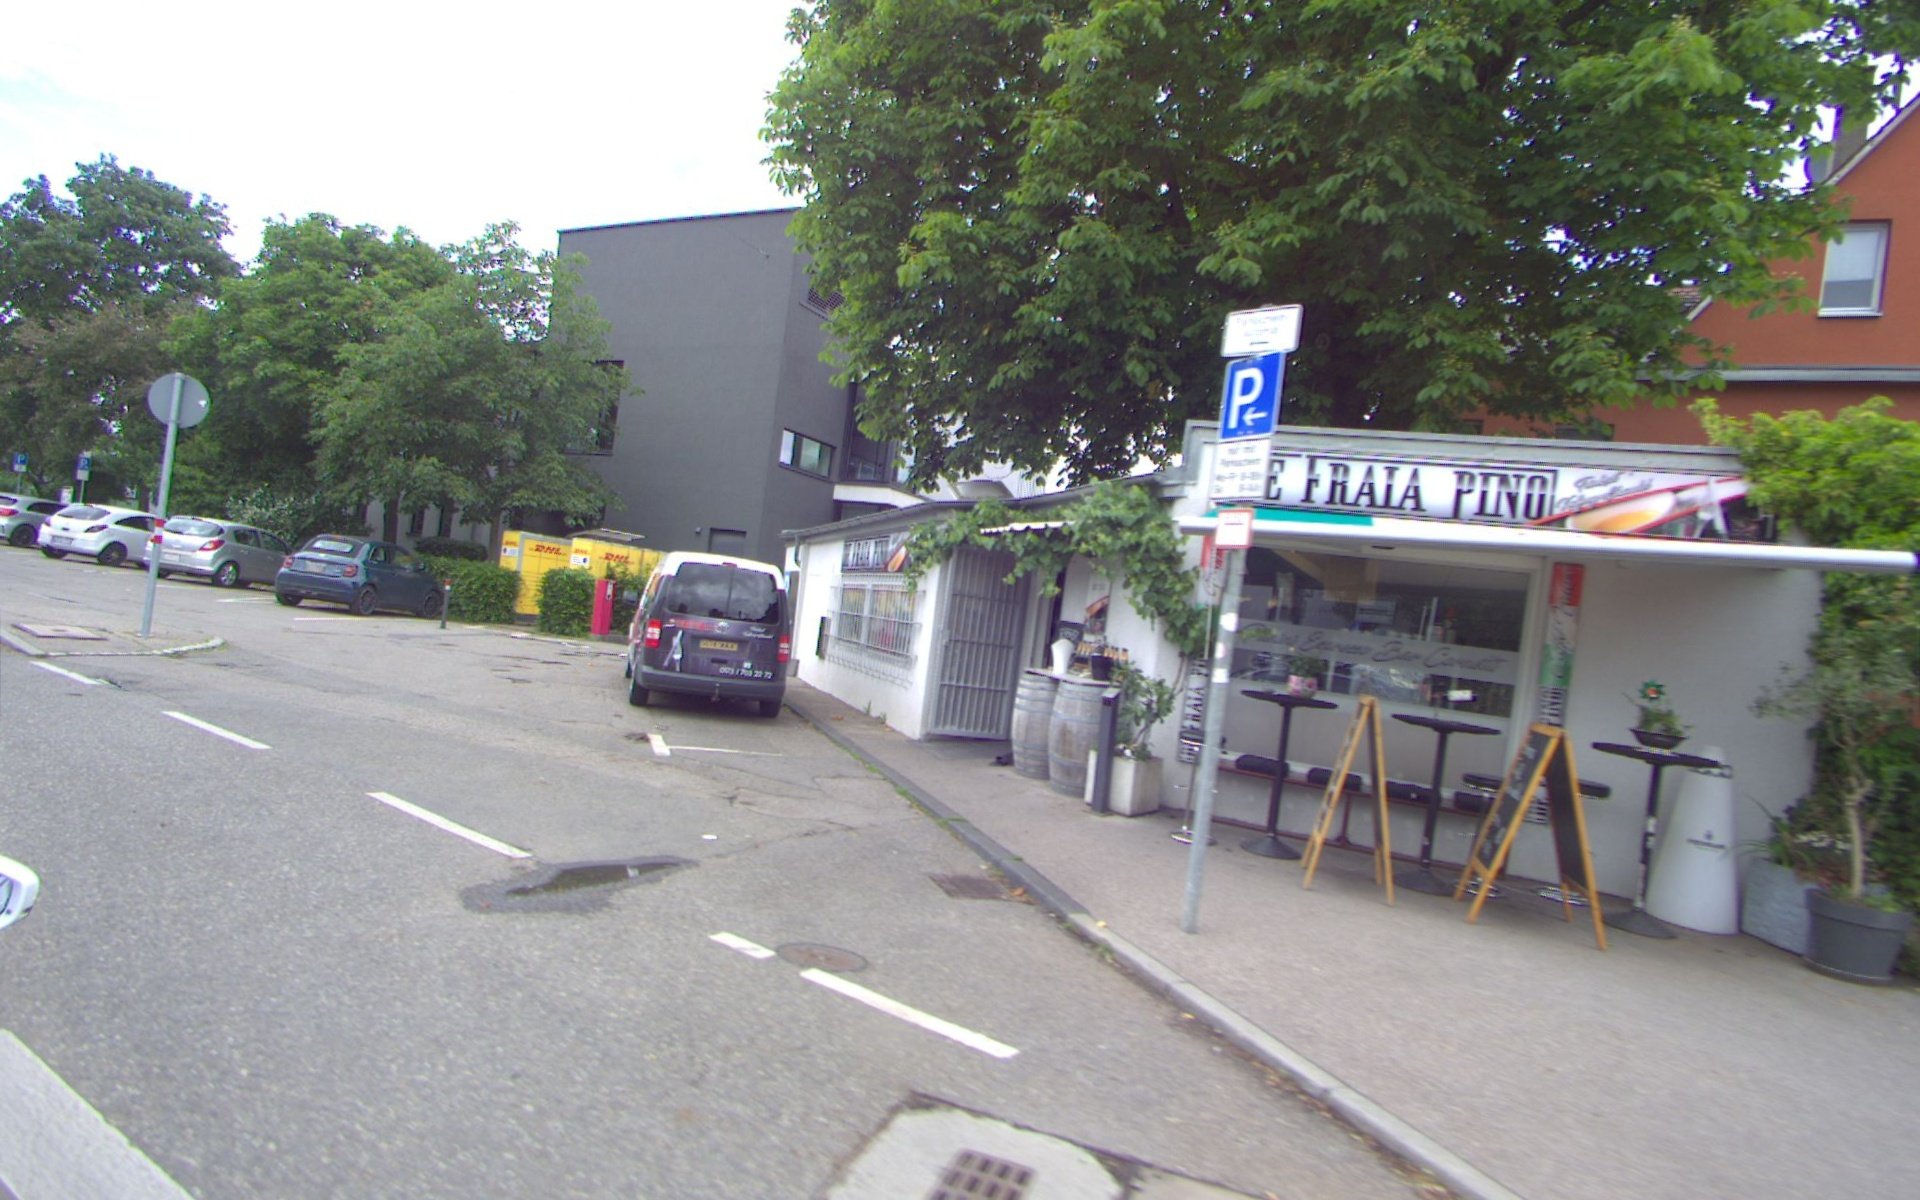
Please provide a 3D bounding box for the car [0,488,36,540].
[{"bbox_3d":[-30.790,-2.880,30.695,1.649,1.471,3.508,7,-2,4],"label":"car"}]

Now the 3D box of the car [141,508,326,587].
[{"bbox_3d":[-16.711,-1.145,23.351,1.519,1.394,3.517,9,0,2],"label":"car"}]

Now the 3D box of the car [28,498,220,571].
[{"bbox_3d":[-21.099,-1.607,25.582,1.561,1.453,3.650,6,0,5],"label":"car"}]

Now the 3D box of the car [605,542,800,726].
[{"bbox_3d":[-3.498,0.313,12.958,1.825,1.770,4.673,7,0,-20],"label":"car"}]

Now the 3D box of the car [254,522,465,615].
[{"bbox_3d":[-12.340,-0.570,21.034,1.845,1.494,4.001,7,-1,1],"label":"car"}]

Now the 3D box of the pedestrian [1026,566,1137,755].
[{"bbox_3d":[1.285,0.640,10.648,0.682,1.882,0.616,6,3,-42],"label":"pedestrian"}]

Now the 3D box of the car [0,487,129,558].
[{"bbox_3d":[-26.162,-2.226,28.548,1.765,1.490,3.809,7,-3,2],"label":"car"}]
